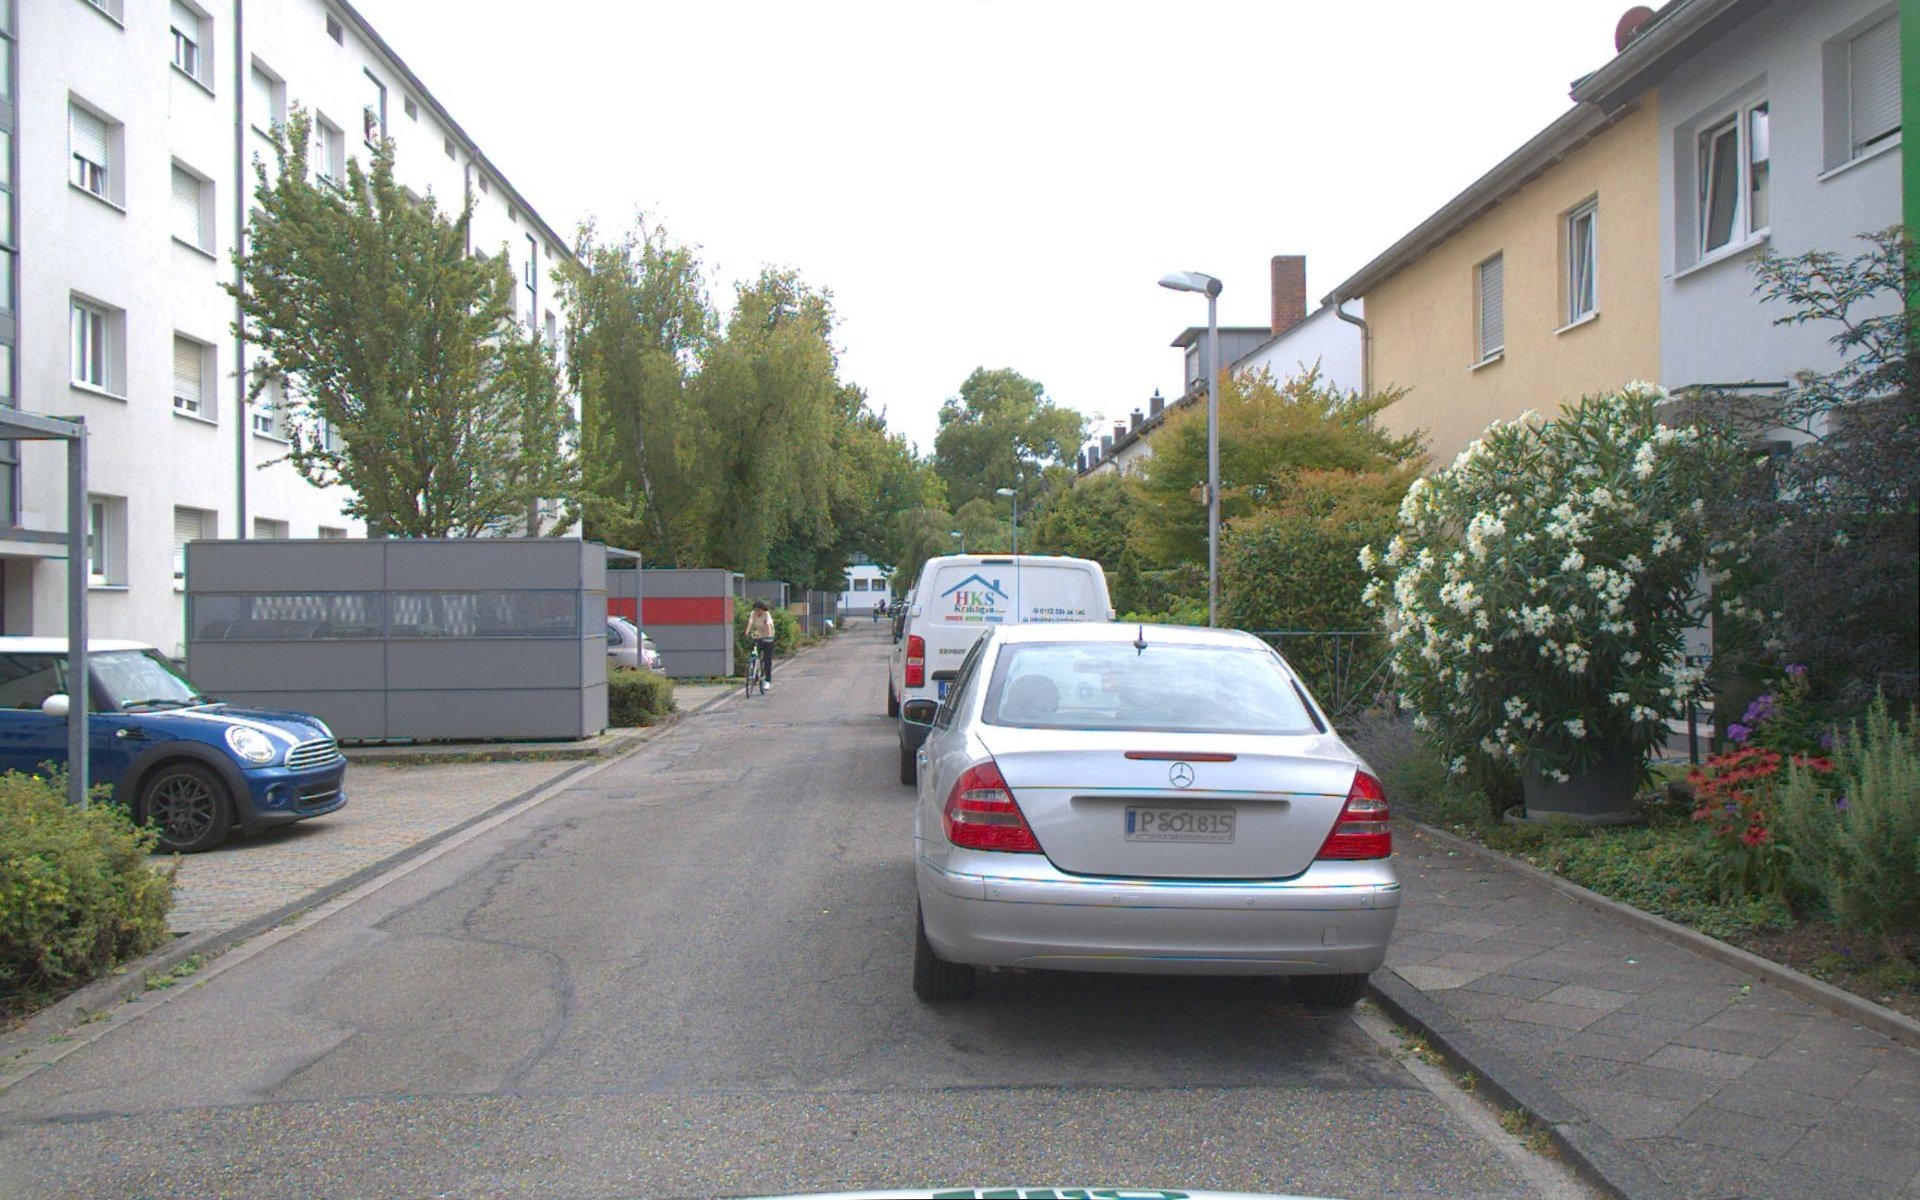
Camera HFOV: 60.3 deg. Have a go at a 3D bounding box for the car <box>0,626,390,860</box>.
[{"bbox_3d":[-6.190,0.991,11.901,3.560,1.487,1.653,-2,0,1],"label":"car"}]

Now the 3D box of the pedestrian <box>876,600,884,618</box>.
[{"bbox_3d":[-8.191,0.884,169.642,0.761,1.837,0.547,1,-1,-4],"label":"pedestrian"}]

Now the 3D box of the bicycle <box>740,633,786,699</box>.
[{"bbox_3d":[-3.550,1.164,29.876,0.585,1.095,2.042,-2,0,-1],"label":"bicycle"}]

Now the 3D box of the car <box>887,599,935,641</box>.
[{"bbox_3d":[-2.047,0.791,67.753,1.789,1.609,3.997,1,0,-4],"label":"car"}]

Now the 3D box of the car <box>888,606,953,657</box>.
[{"bbox_3d":[-1.184,0.899,48.867,1.788,1.394,4.329,1,0,-2],"label":"car"}]

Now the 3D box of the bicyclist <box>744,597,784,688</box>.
[{"bbox_3d":[-3.565,0.763,30.120,0.585,1.608,0.767,-2,0,-1],"label":"bicyclist"}]

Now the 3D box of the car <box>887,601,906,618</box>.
[{"bbox_3d":[-6.341,0.939,165.227,1.788,1.609,3.998,1,0,-2],"label":"car"}]

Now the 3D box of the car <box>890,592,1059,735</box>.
[{"bbox_3d":[0.085,0.755,21.477,1.789,1.664,4.157,1,0,-5],"label":"car"}]

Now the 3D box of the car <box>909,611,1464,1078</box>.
[{"bbox_3d":[0.692,0.789,7.454,1.747,1.445,4.454,1,0,-1],"label":"car"}]

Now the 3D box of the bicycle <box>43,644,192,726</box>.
[{"bbox_3d":[-11.737,1.168,23.085,1.796,1.042,0.471,-1,0,-44],"label":"bicycle"}]

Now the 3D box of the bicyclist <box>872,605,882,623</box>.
[{"bbox_3d":[-6.962,1.185,138.854,0.782,1.537,0.934,1,-1,0],"label":"bicyclist"}]

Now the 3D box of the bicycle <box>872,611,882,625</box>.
[{"bbox_3d":[-6.989,1.512,138.901,0.675,1.151,2.579,1,0,0],"label":"bicycle"}]

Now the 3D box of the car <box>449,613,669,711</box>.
[{"bbox_3d":[-6.896,1.047,28.740,3.494,1.506,1.708,-2,0,-7],"label":"car"}]

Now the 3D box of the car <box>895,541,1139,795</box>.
[{"bbox_3d":[0.355,0.555,15.784,1.866,1.999,5.250,1,0,-3],"label":"car"}]

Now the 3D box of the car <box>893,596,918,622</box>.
[{"bbox_3d":[-4.118,0.689,124.342,1.788,1.916,3.998,1,0,-2],"label":"car"}]
